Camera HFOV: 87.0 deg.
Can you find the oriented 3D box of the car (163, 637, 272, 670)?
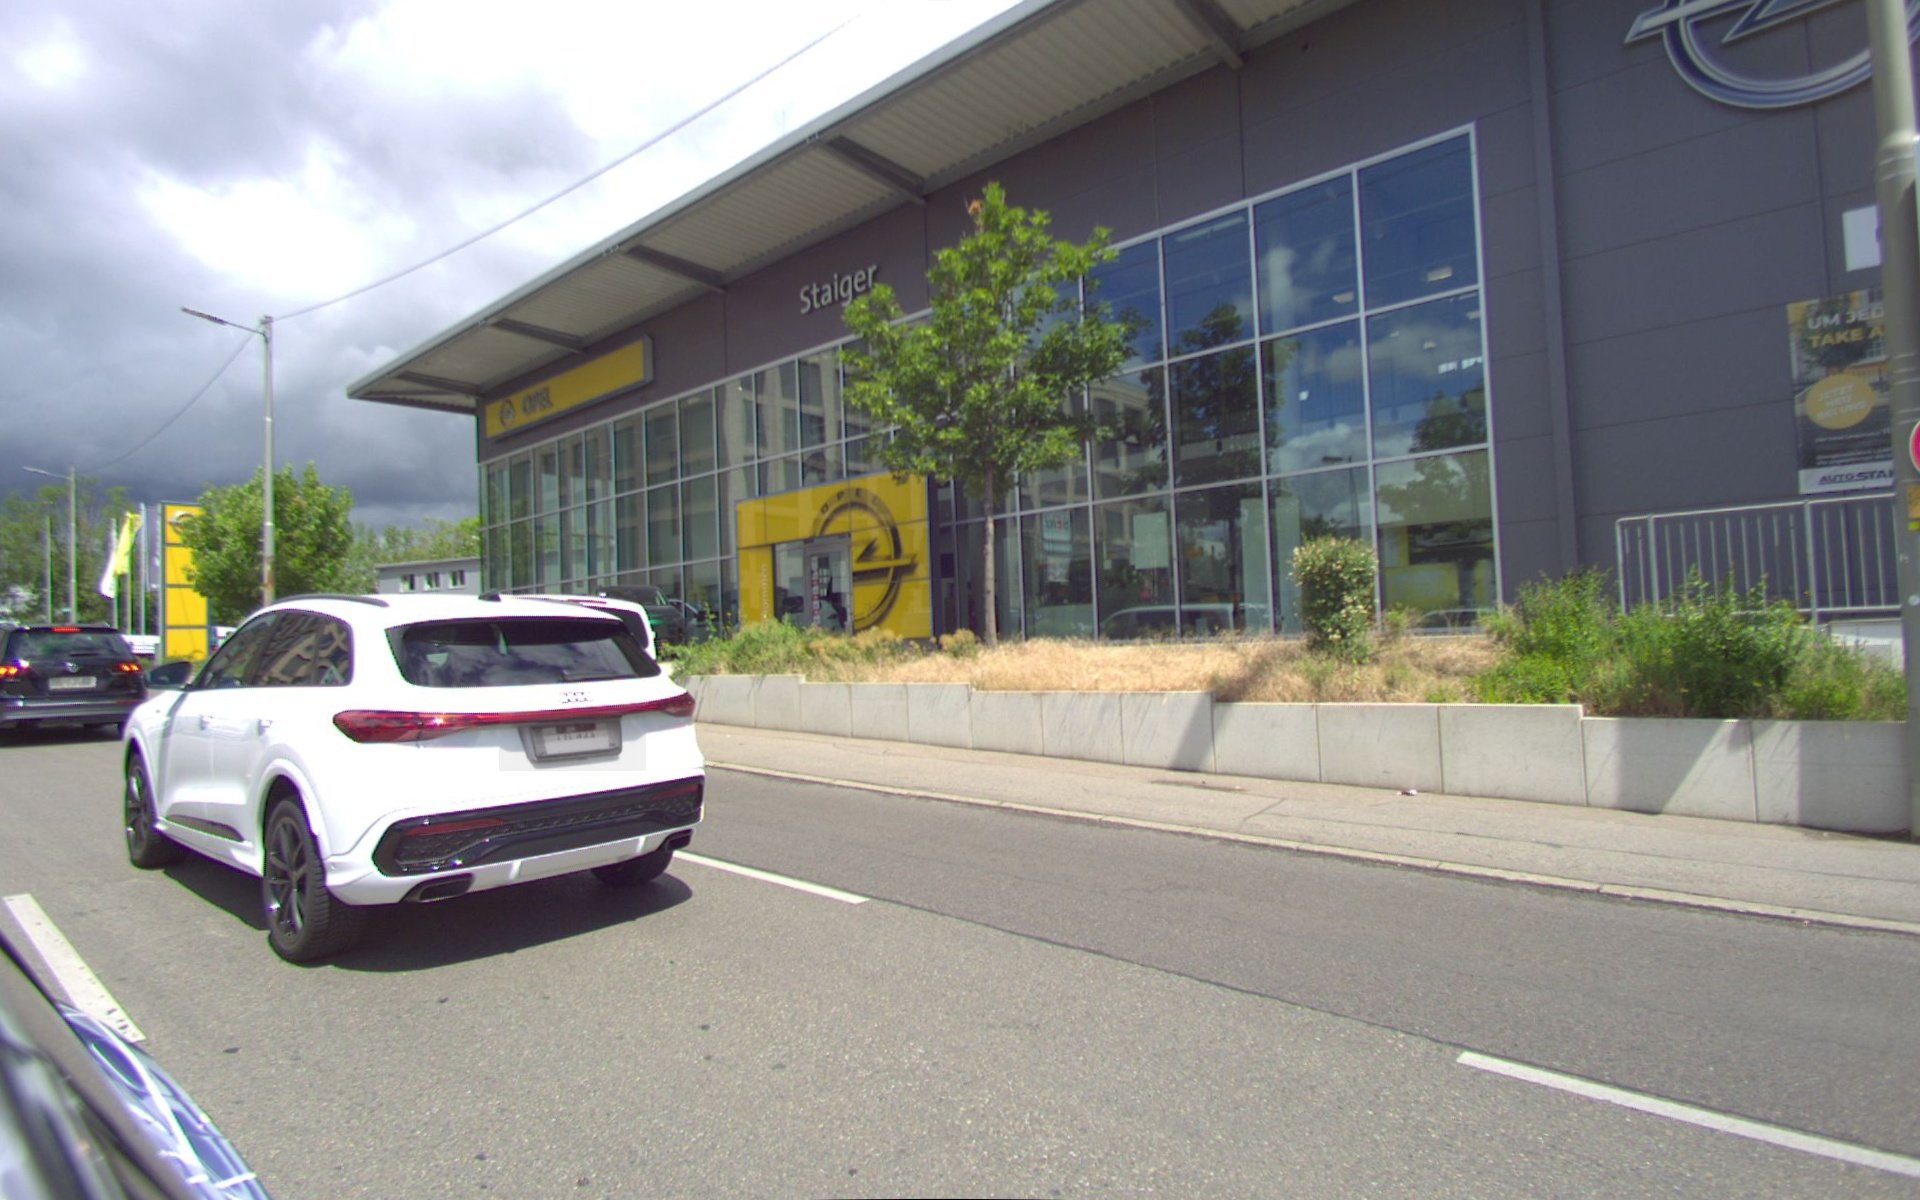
[{"bbox_3d":[-33.217,2.369,45.340,1.814,1.420,3.621,-2,-3,42],"label":"car"}]

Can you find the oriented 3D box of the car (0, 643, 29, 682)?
[{"bbox_3d":[-38.997,2.495,40.746,3.749,1.515,1.709,-2,-2,40],"label":"car"}]

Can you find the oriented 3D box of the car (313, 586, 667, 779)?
[{"bbox_3d":[-5.883,0.917,12.318,5.196,1.874,1.899,-2,-4,41],"label":"car"}]

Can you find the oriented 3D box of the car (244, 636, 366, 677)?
[{"bbox_3d":[-26.785,2.278,41.460,1.559,1.539,3.897,-2,-2,38],"label":"car"}]

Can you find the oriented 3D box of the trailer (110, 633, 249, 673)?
[{"bbox_3d":[-36.520,2.426,47.449,2.092,1.765,4.776,-2,-2,37],"label":"trailer"}]

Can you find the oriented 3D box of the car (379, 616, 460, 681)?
[{"bbox_3d":[-14.629,1.278,27.569,1.767,1.625,4.122,1,-2,-26],"label":"car"}]

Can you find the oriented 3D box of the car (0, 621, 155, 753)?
[{"bbox_3d":[-13.142,1.150,14.461,4.105,1.625,1.774,-2,-2,40],"label":"car"}]

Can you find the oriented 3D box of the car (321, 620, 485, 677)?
[{"bbox_3d":[-16.922,1.442,30.926,1.792,1.625,4.064,-2,-2,32],"label":"car"}]

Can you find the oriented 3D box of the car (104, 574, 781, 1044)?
[{"bbox_3d":[-3.157,0.788,5.694,4.413,1.625,1.899,-2,-2,41],"label":"car"}]

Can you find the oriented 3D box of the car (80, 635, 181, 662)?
[{"bbox_3d":[-47.850,2.776,58.444,2.093,1.493,4.200,-2,-2,38],"label":"car"}]

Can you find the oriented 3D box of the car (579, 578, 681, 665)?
[{"bbox_3d":[-6.959,0.473,21.093,1.790,1.625,4.122,0,-2,-21],"label":"car"}]

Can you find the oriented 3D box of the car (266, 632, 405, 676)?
[{"bbox_3d":[-24.849,2.123,40.389,1.923,1.625,4.358,-2,-2,38],"label":"car"}]

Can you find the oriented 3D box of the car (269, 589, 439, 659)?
[{"bbox_3d":[-20.500,0.798,34.375,2.177,2.211,4.475,-1,-2,39],"label":"car"}]

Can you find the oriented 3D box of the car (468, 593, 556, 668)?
[{"bbox_3d":[-10.694,0.705,24.106,1.767,1.625,4.122,0,-1,-25],"label":"car"}]
